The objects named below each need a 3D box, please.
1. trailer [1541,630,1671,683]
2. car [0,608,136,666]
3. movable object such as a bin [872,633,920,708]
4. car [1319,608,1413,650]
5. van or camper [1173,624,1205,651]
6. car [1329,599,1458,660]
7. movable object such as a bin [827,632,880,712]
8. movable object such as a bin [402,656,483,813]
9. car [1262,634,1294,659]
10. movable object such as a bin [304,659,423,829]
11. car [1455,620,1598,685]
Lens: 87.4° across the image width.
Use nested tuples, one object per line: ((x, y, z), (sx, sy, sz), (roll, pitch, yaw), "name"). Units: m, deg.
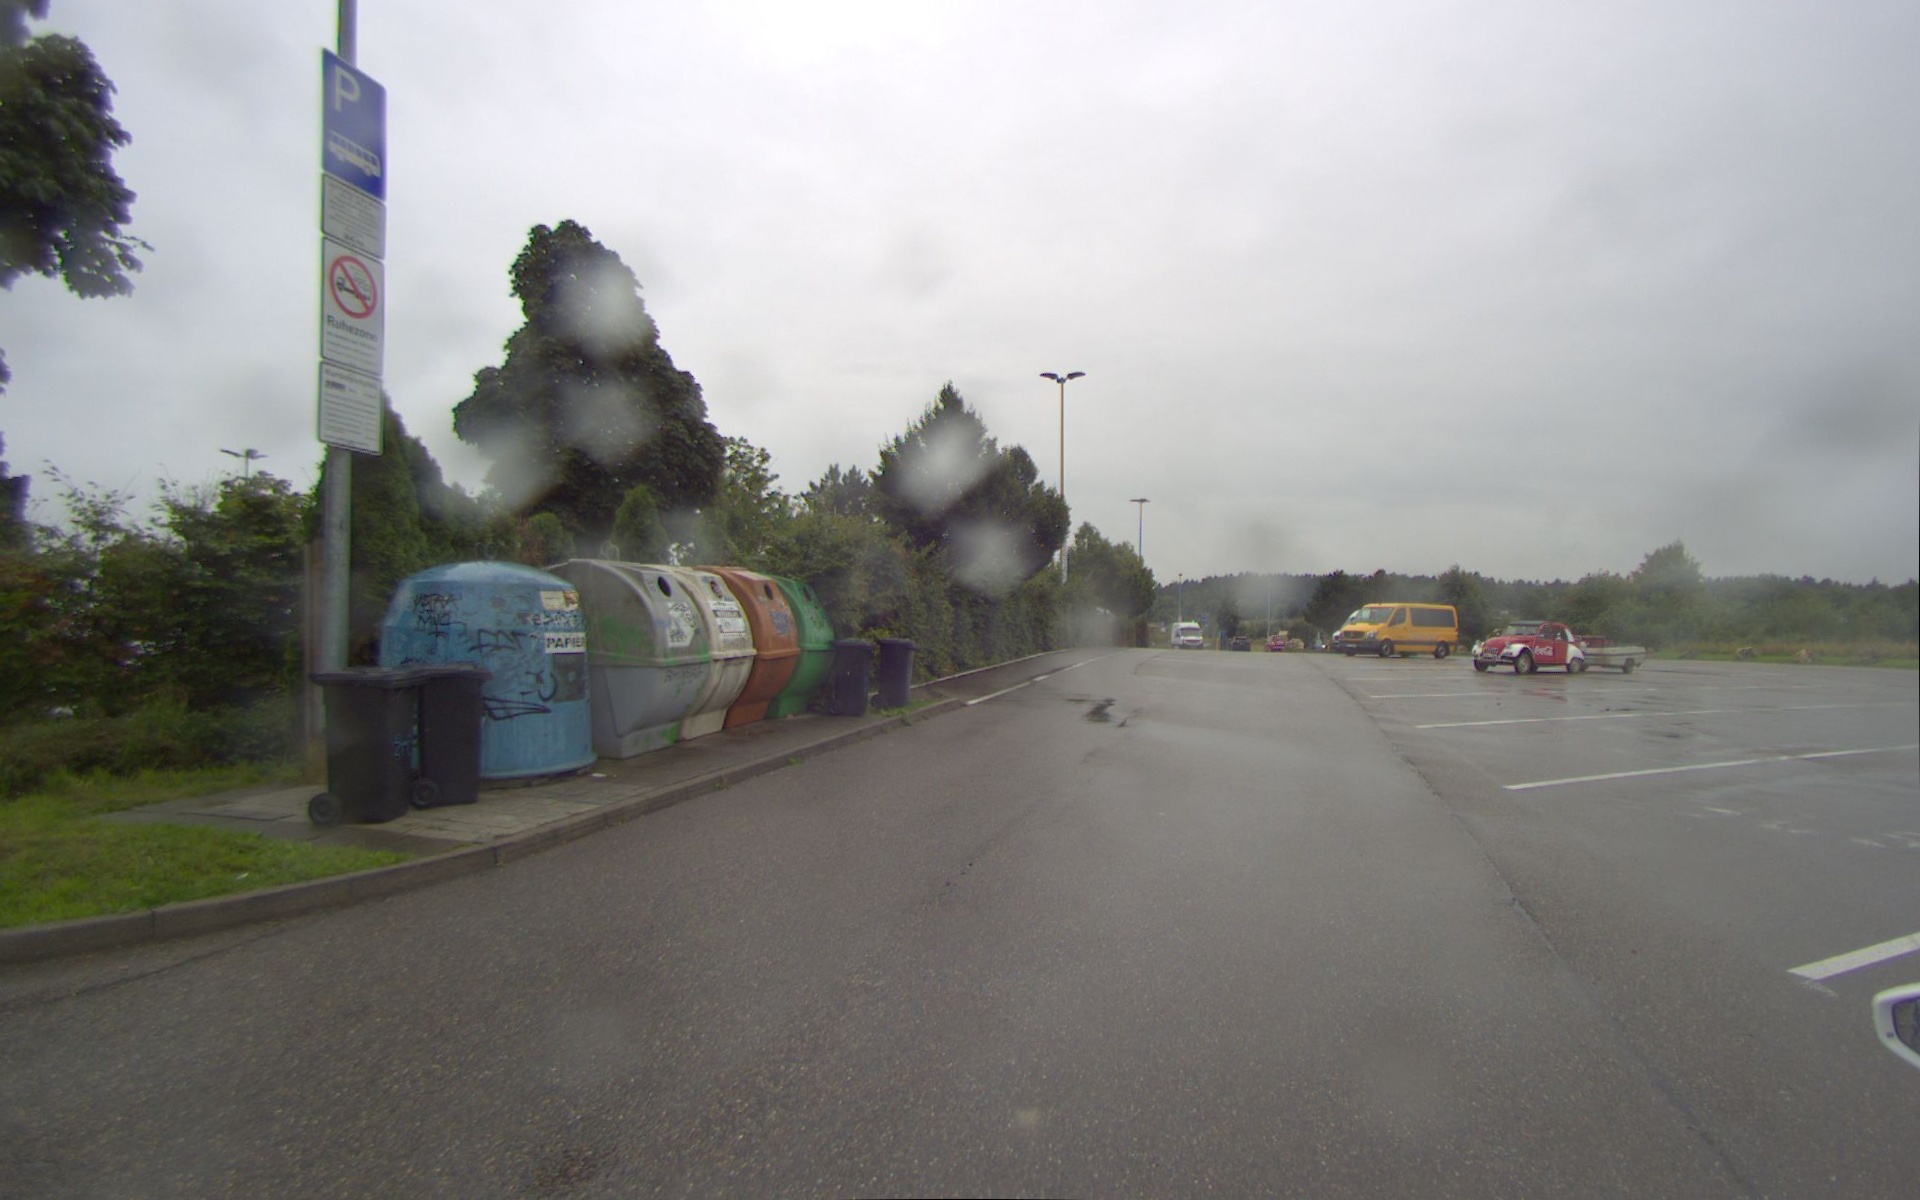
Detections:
((20.185, 1.728, 31.364), (3.949, 1.553, 1.689), (1, -2, -28), "trailer")
((-30.425, 1.259, 34.022), (4.281, 1.886, 1.722), (-1, -3, 16), "car")
((-0.821, 0.899, 12.979), (0.498, 0.928, 0.439), (0, 0, 17), "movable object such as a bin")
((23.296, 1.652, 57.742), (4.692, 2.231, 1.995), (2, 0, -14), "car")
((19.547, 3.169, 86.022), (1.960, 2.195, 4.002), (1, -2, 3), "van or camper")
((18.673, 1.327, 43.153), (5.956, 2.411, 1.984), (2, -3, -31), "car")
((-1.305, 0.873, 12.341), (0.499, 0.935, 0.438), (0, 0, 20), "movable object such as a bin")
((-3.419, 0.865, 6.636), (0.445, 0.961, 0.402), (1, 1, -31), "movable object such as a bin")
((27.202, 3.989, 85.988), (1.653, 2.040, 4.002), (0, -2, 3), "car")
((-3.597, 0.857, 6.080), (0.464, 0.961, 0.435), (1, 1, -6), "movable object such as a bin")
((16.672, 1.526, 29.531), (3.949, 1.800, 1.816), (2, -2, -27), "car")
